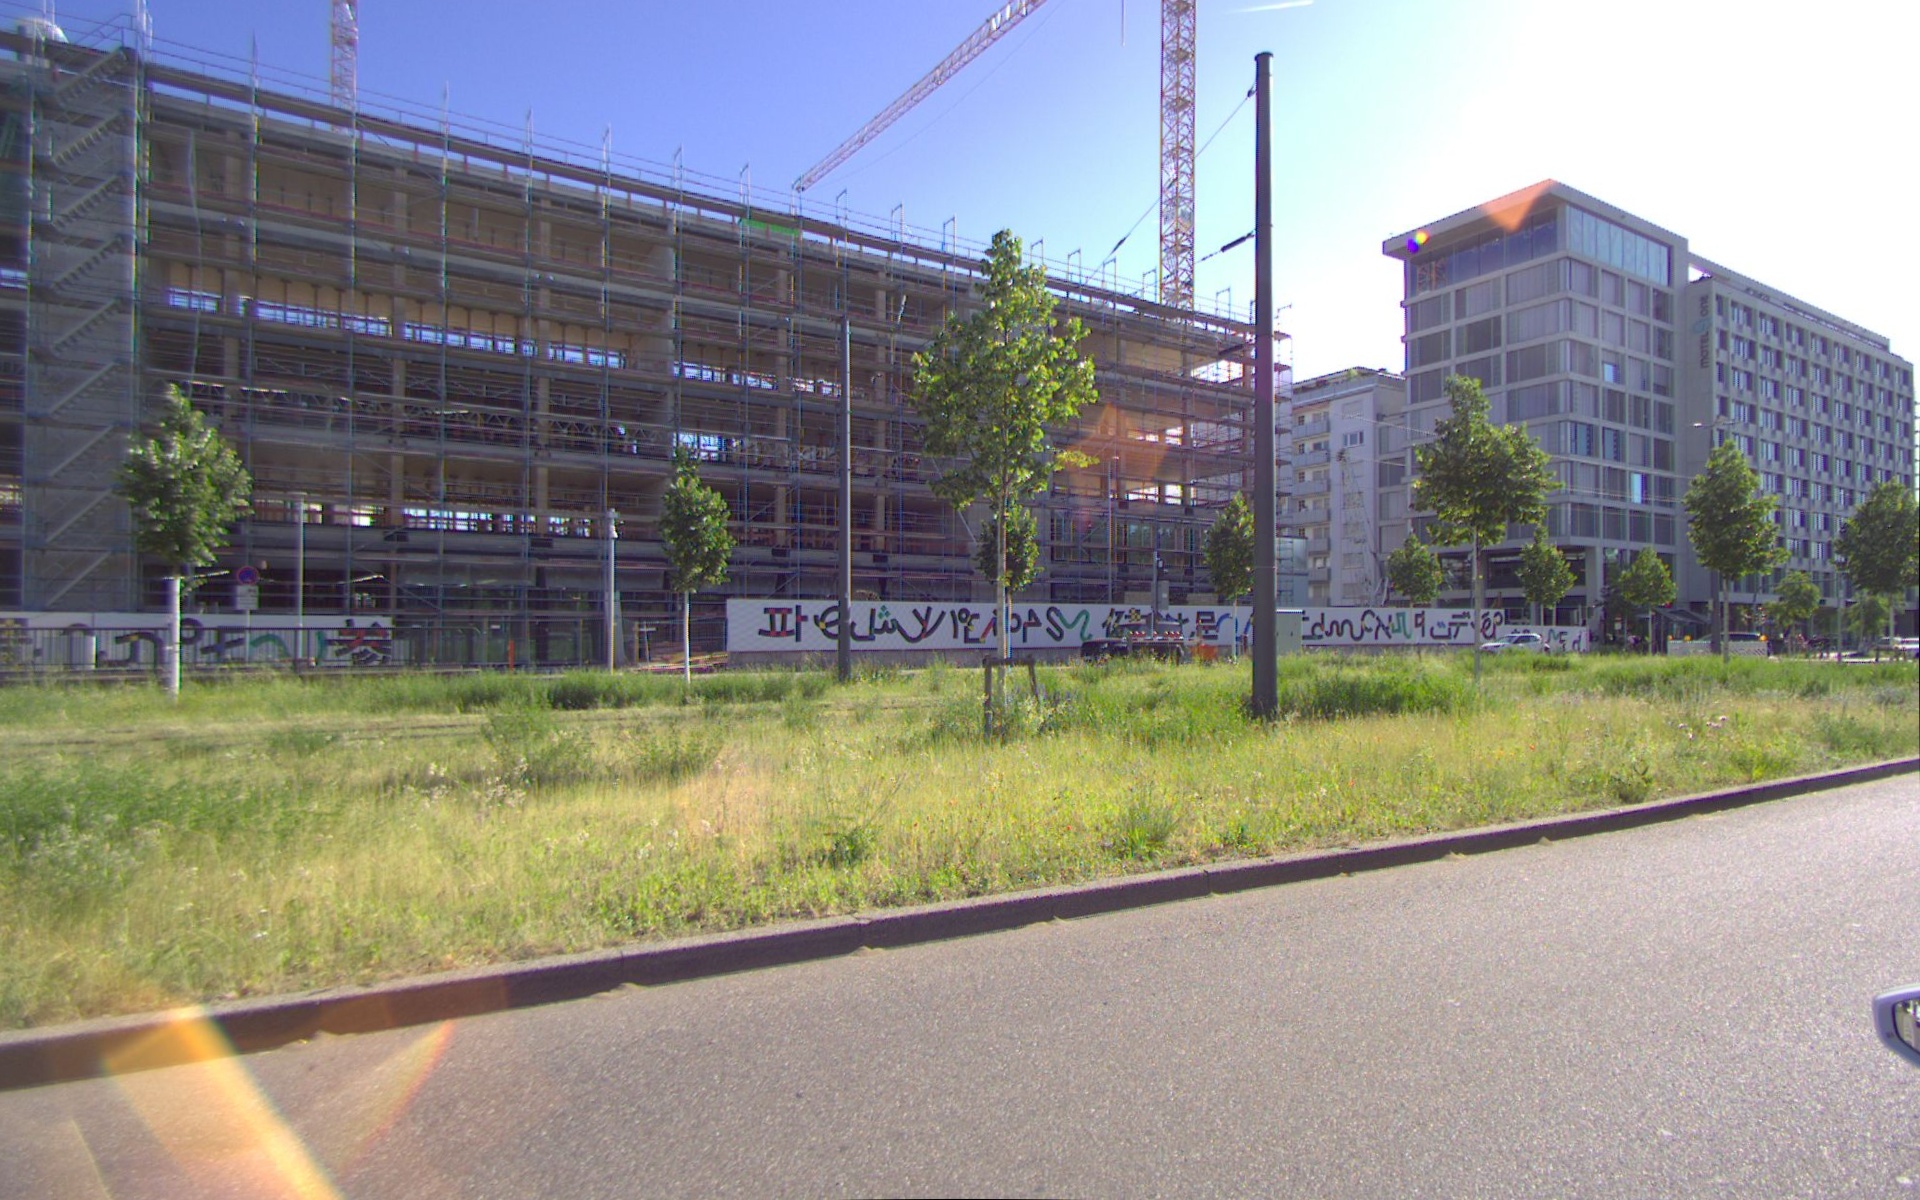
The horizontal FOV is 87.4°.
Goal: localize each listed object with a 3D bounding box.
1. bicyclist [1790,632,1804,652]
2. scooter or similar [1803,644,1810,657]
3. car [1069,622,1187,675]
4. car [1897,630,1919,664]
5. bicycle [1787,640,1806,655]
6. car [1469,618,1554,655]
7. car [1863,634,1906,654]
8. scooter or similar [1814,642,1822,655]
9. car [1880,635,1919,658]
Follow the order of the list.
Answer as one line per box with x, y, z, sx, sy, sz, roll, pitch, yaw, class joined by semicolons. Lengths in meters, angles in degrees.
68.044;3.384;81.664;0.881;1.601;0.591;2;0;-28;bicyclist
63.867;3.833;75.769;0.761;0.960;0.283;2;-1;-39;scooter or similar
6.552;1.867;39.019;4.275;1.943;1.901;1;-1;-29;car
52.549;2.508;52.892;4.451;1.816;1.994;0;-1;35;car
67.841;3.838;81.455;1.602;1.115;0.584;2;0;-28;bicycle
30.210;1.998;55.047;3.921;1.943;1.908;1;-1;-17;car
81.401;3.864;88.464;3.955;1.673;1.781;2;-2;-31;car
64.057;3.654;75.009;0.759;0.960;0.227;1;-1;-31;scooter or similar
72.208;3.563;76.784;3.955;1.673;1.781;2;-2;-31;car
